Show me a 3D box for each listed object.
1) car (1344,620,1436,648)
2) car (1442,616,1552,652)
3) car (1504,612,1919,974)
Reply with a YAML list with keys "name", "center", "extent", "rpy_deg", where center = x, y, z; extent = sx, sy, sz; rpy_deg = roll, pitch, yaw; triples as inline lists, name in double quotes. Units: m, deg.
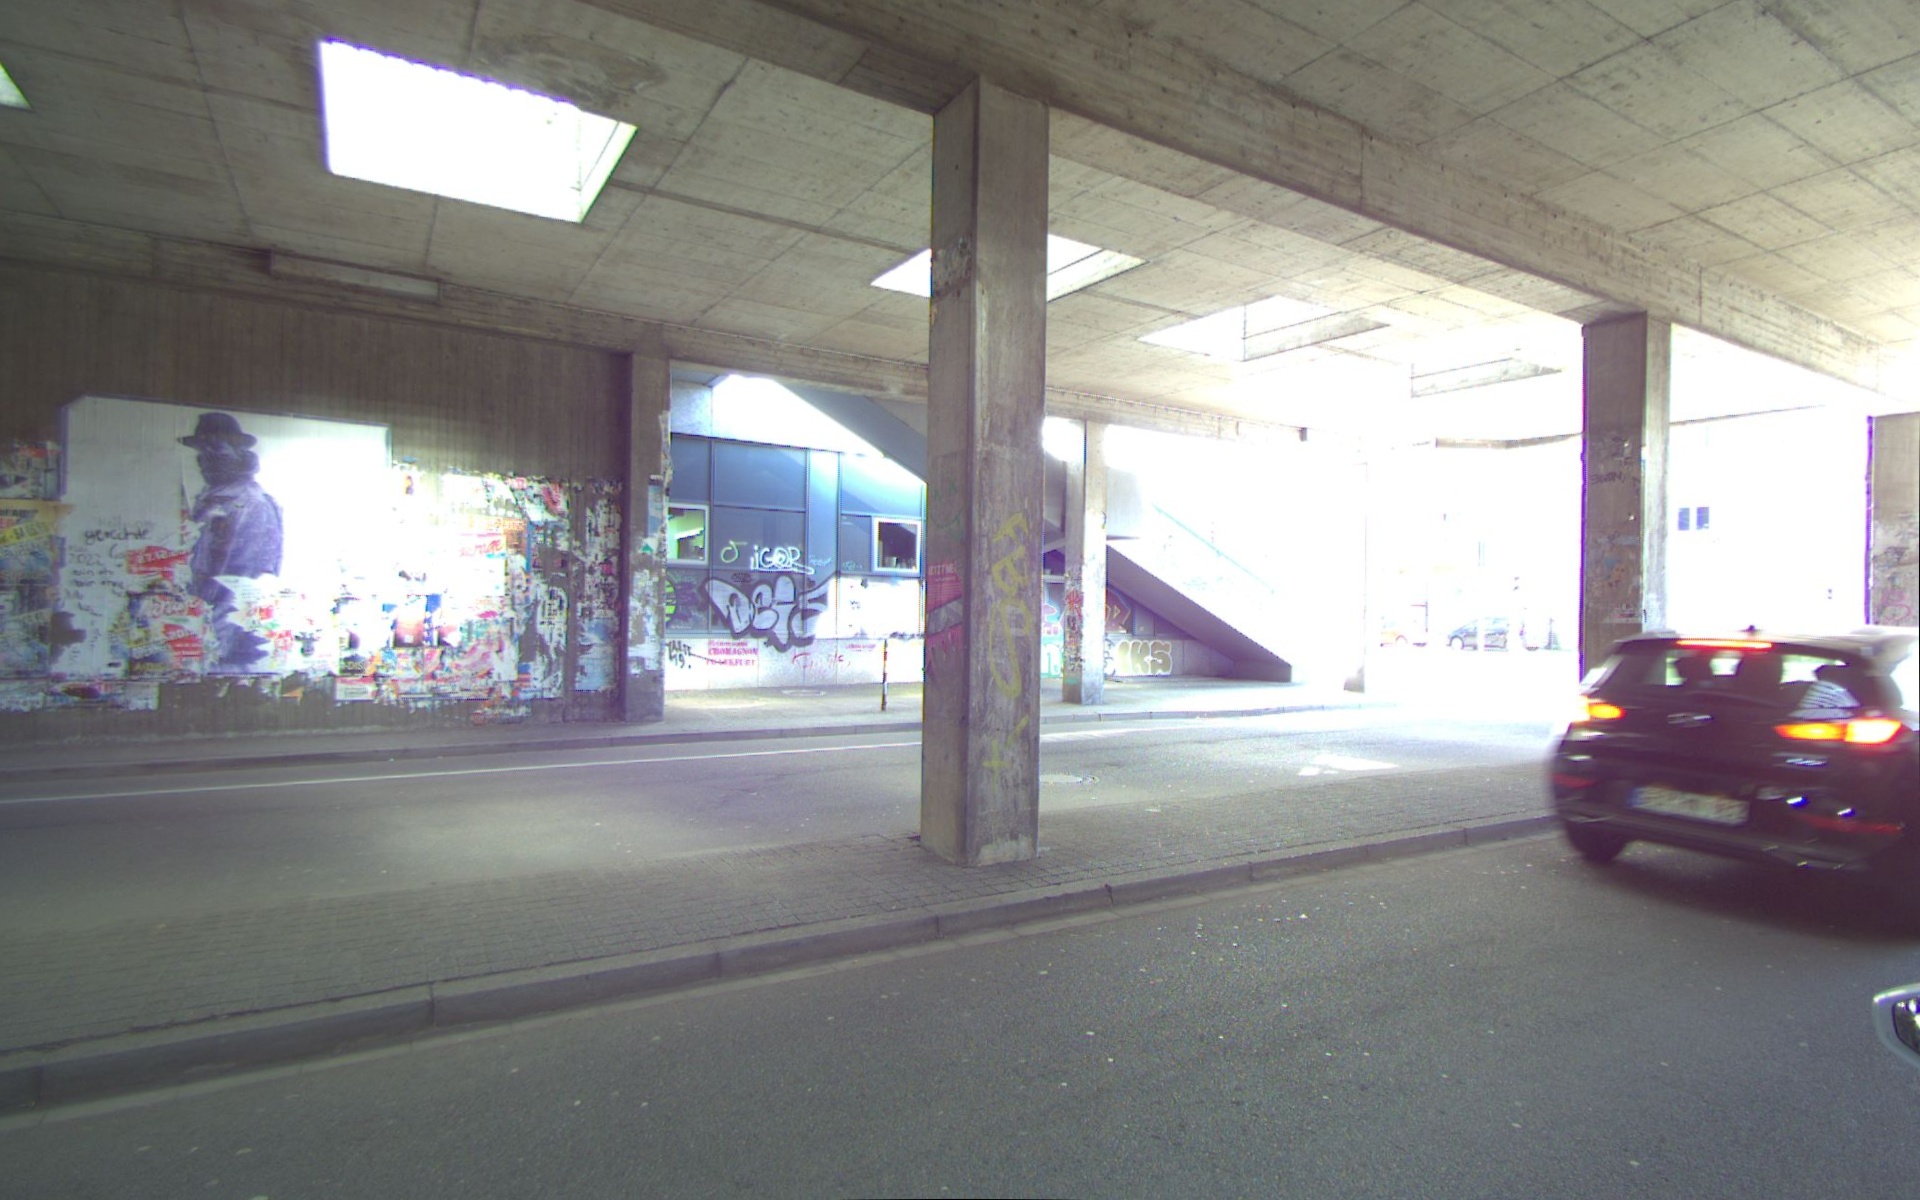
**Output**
- name: "car"
  center: [22.484, 1.774, 52.661]
  extent: [2.163, 1.392, 3.971]
  rpy_deg: [1, -1, -28]
- name: "car"
  center: [25.406, 1.584, 47.650]
  extent: [2.240, 1.571, 4.111]
  rpy_deg: [1, -1, -29]
- name: "car"
  center: [5.337, 0.860, 6.061]
  extent: [4.131, 1.466, 1.770]
  rpy_deg: [1, 1, -32]
